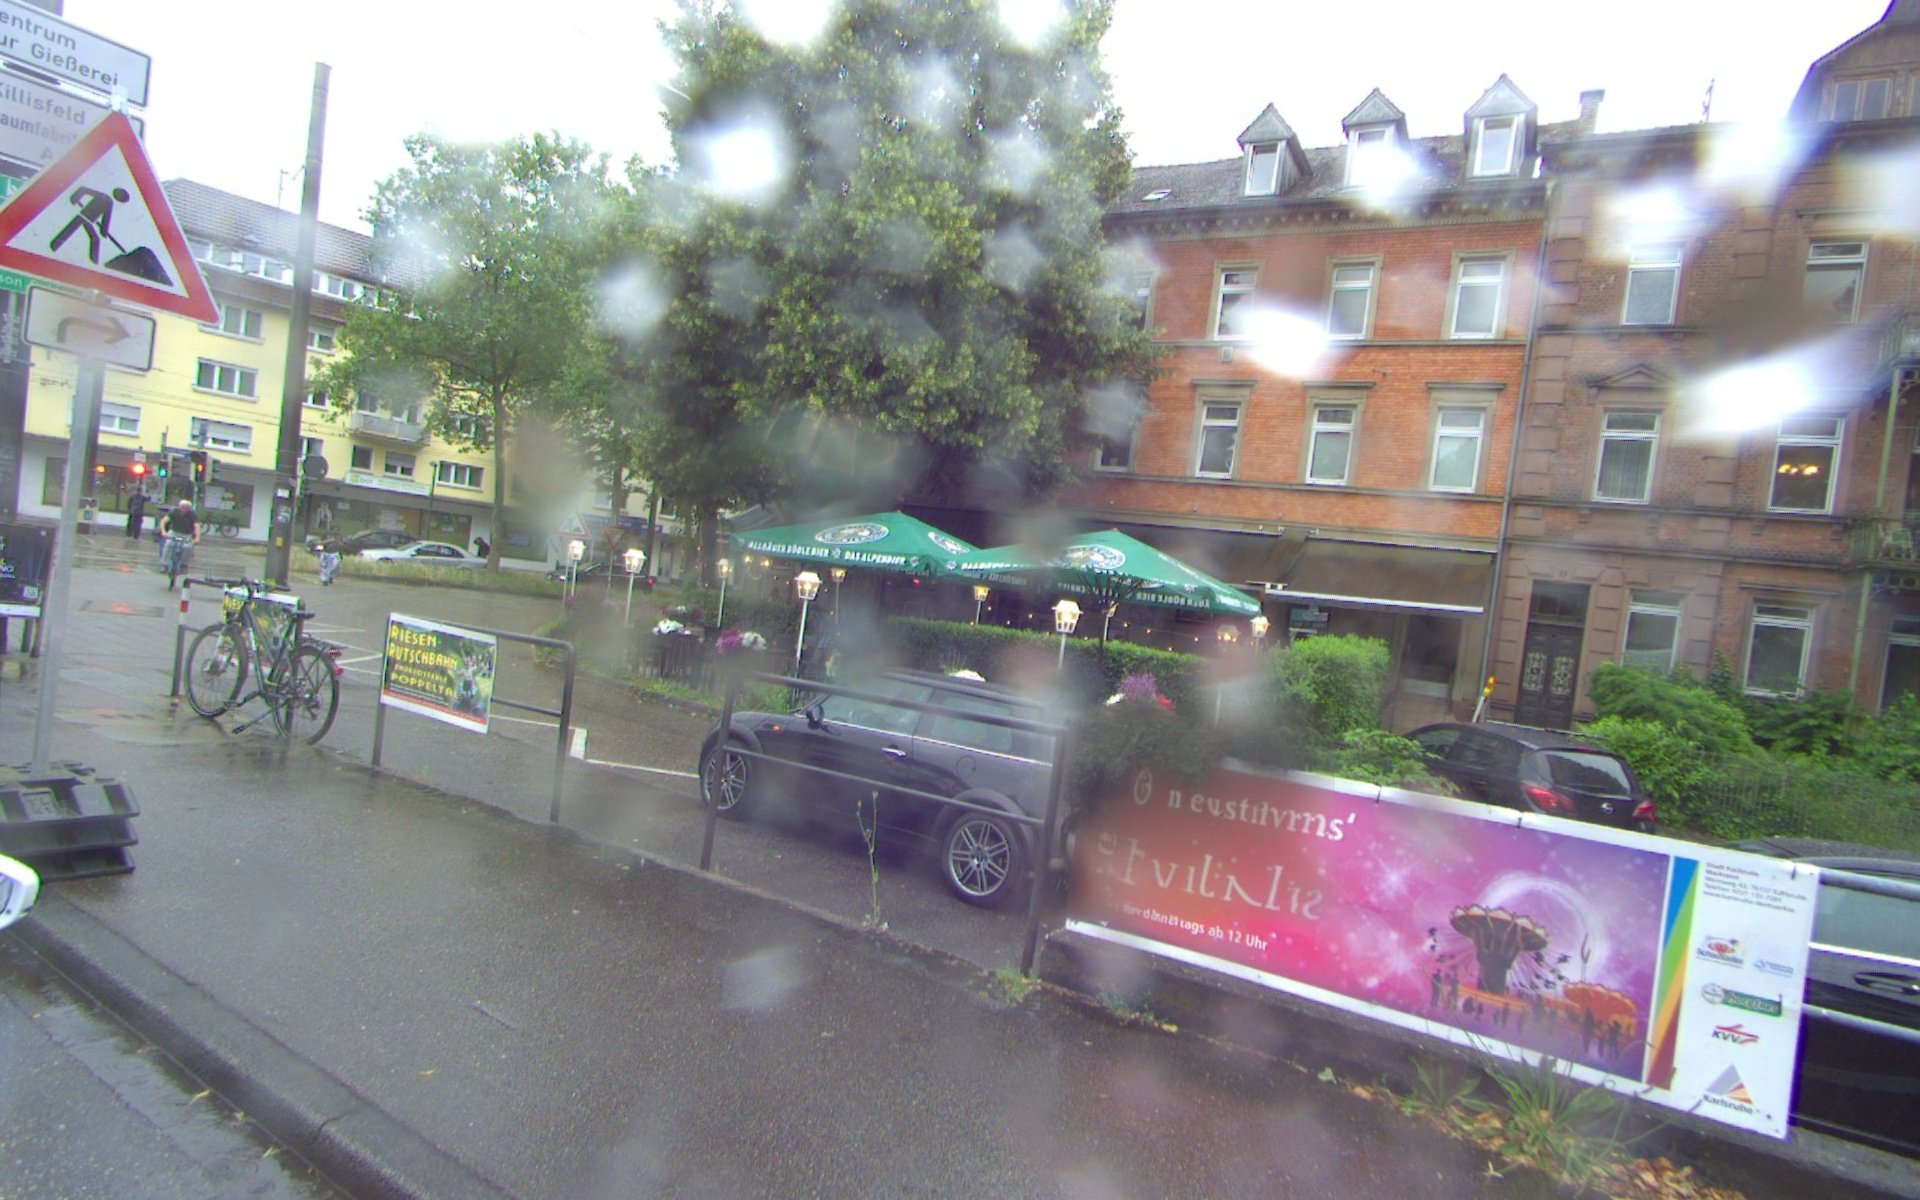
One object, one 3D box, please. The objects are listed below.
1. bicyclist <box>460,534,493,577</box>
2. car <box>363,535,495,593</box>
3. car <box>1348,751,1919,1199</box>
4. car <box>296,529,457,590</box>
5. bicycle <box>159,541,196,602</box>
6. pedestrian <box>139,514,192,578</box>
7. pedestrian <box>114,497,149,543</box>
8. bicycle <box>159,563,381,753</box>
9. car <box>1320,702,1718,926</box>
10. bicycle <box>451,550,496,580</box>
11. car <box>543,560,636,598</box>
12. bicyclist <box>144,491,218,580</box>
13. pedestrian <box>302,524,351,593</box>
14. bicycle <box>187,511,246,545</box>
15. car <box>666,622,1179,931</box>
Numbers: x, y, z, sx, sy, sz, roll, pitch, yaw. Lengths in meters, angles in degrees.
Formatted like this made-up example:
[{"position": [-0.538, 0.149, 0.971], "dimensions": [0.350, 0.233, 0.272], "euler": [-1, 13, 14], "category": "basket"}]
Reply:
[{"position": [-20.084, -1.840, 41.793], "dimensions": [0.699, 1.634, 0.815], "euler": [7, -1, 32], "category": "bicyclist"}, {"position": [-19.672, -1.326, 37.359], "dimensions": [3.926, 1.508, 1.784], "euler": [8, 0, -43], "category": "car"}, {"position": [4.196, 1.822, 4.960], "dimensions": [3.907, 1.416, 1.706], "euler": [7, -1, 32], "category": "car"}, {"position": [-22.446, -1.517, 38.824], "dimensions": [1.975, 1.661, 4.928], "euler": [3, -4, 43], "category": "car"}, {"position": [-15.346, -0.572, 19.727], "dimensions": [0.456, 1.040, 1.881], "euler": [7, 0, -39], "category": "bicycle"}, {"position": [-20.998, -1.415, 26.611], "dimensions": [0.612, 1.552, 0.816], "euler": [7, 0, -6], "category": "pedestrian"}, {"position": [-29.573, -2.866, 35.924], "dimensions": [0.612, 1.518, 0.552], "euler": [7, 0, -7], "category": "pedestrian"}, {"position": [-5.178, 0.402, 7.499], "dimensions": [1.984, 1.119, 0.515], "euler": [7, -3, 33], "category": "bicycle"}, {"position": [6.447, 2.402, 12.224], "dimensions": [1.967, 1.733, 3.993], "euler": [7, -1, -11], "category": "car"}, {"position": [-20.166, -1.426, 41.725], "dimensions": [0.415, 1.013, 1.640], "euler": [7, -1, 32], "category": "bicycle"}, {"position": [-15.516, -0.873, 42.275], "dimensions": [1.227, 1.095, 3.531], "euler": [7, -2, 34], "category": "car"}, {"position": [-15.255, -1.263, 19.704], "dimensions": [0.848, 1.602, 0.877], "euler": [7, -1, 42], "category": "bicyclist"}, {"position": [-16.888, -1.109, 26.816], "dimensions": [0.899, 1.689, 1.011], "euler": [7, -1, -34], "category": "pedestrian"}, {"position": [-35.603, -3.430, 48.197], "dimensions": [2.096, 1.277, 0.525], "euler": [8, 0, -44], "category": "bicycle"}, {"position": [-0.352, 1.214, 7.802], "dimensions": [3.468, 1.457, 1.710], "euler": [8, -3, 34], "category": "car"}]
